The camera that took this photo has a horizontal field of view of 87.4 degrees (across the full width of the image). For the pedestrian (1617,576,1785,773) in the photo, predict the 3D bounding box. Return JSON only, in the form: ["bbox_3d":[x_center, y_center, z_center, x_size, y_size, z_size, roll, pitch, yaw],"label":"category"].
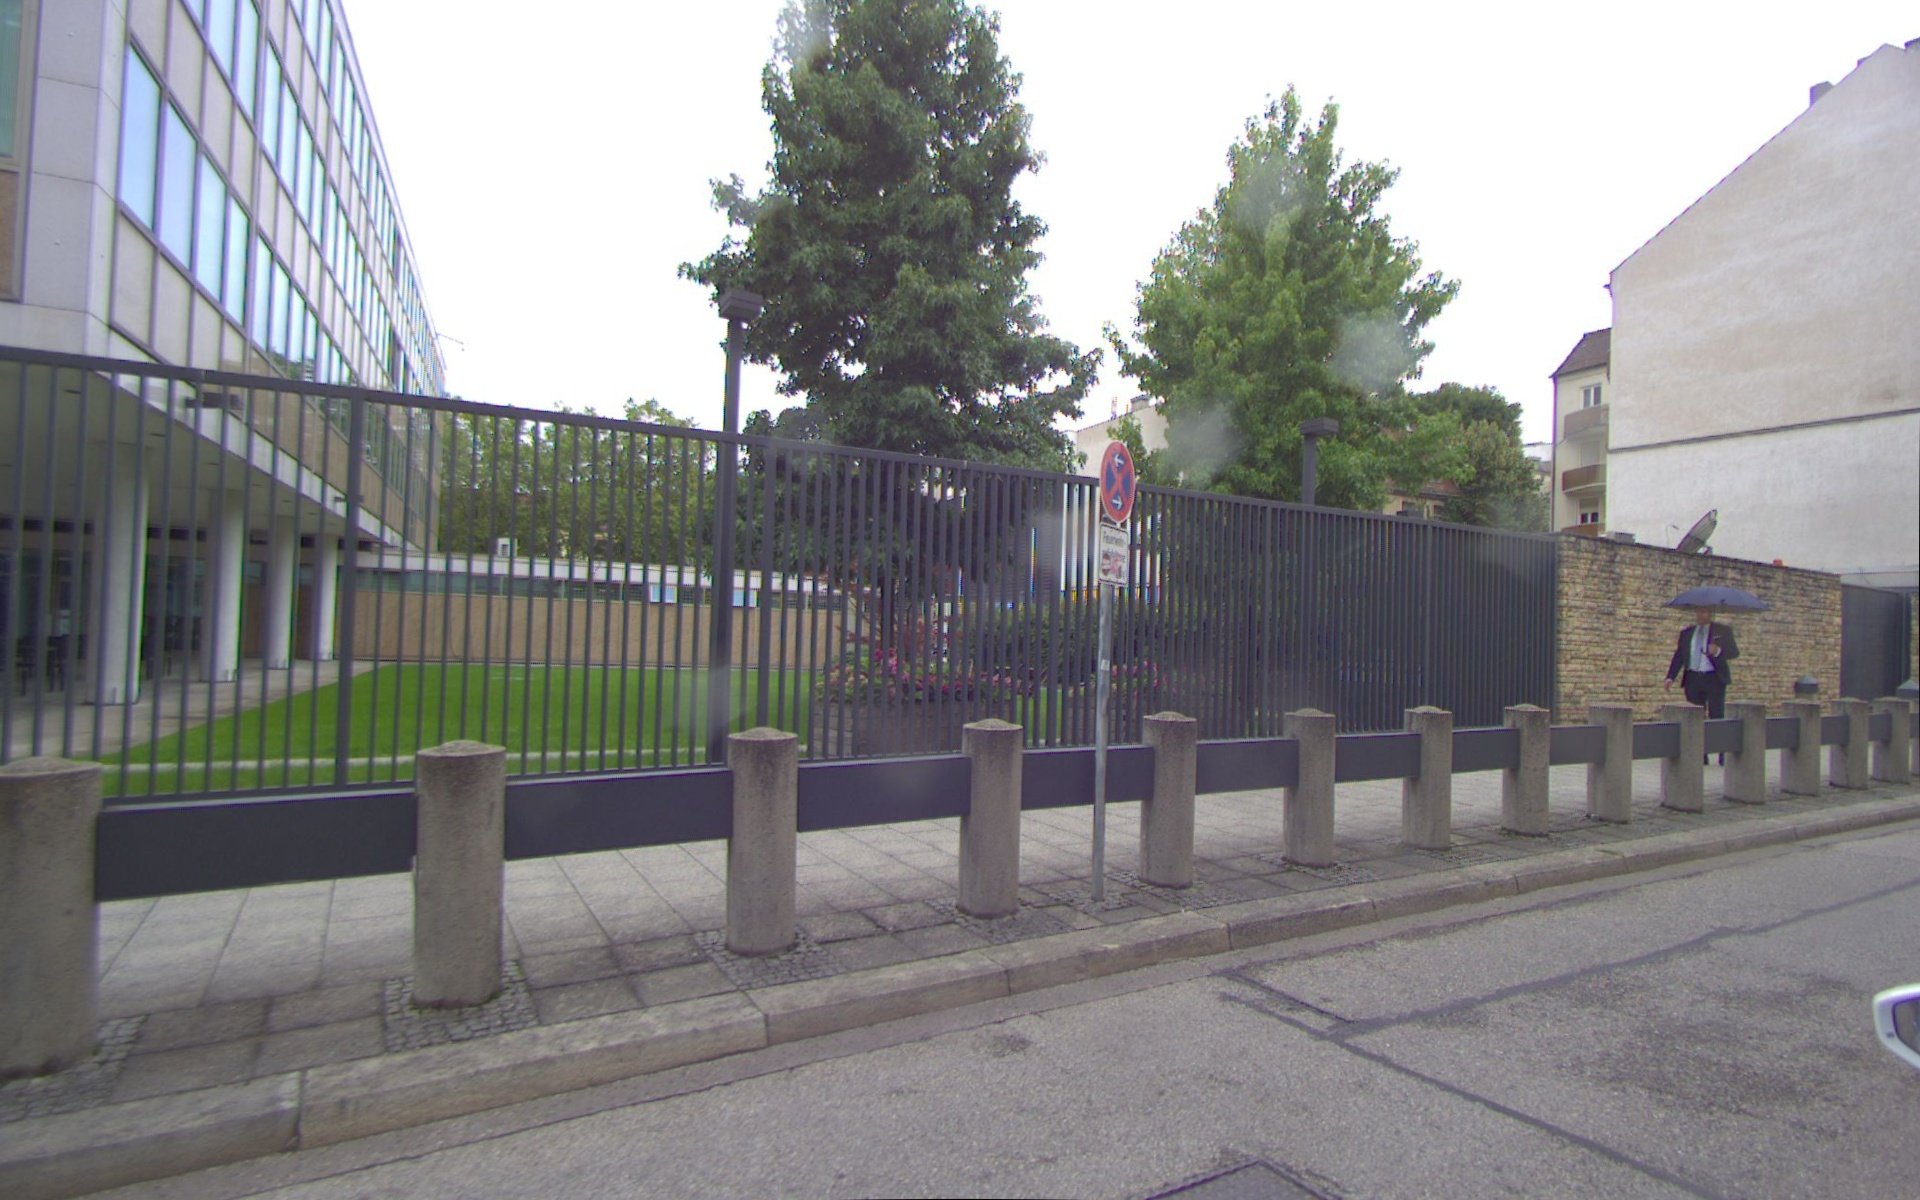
[{"bbox_3d":[8.575,0.829,11.655,1.103,2.132,1.218,2,-1,-28],"label":"pedestrian"}]
